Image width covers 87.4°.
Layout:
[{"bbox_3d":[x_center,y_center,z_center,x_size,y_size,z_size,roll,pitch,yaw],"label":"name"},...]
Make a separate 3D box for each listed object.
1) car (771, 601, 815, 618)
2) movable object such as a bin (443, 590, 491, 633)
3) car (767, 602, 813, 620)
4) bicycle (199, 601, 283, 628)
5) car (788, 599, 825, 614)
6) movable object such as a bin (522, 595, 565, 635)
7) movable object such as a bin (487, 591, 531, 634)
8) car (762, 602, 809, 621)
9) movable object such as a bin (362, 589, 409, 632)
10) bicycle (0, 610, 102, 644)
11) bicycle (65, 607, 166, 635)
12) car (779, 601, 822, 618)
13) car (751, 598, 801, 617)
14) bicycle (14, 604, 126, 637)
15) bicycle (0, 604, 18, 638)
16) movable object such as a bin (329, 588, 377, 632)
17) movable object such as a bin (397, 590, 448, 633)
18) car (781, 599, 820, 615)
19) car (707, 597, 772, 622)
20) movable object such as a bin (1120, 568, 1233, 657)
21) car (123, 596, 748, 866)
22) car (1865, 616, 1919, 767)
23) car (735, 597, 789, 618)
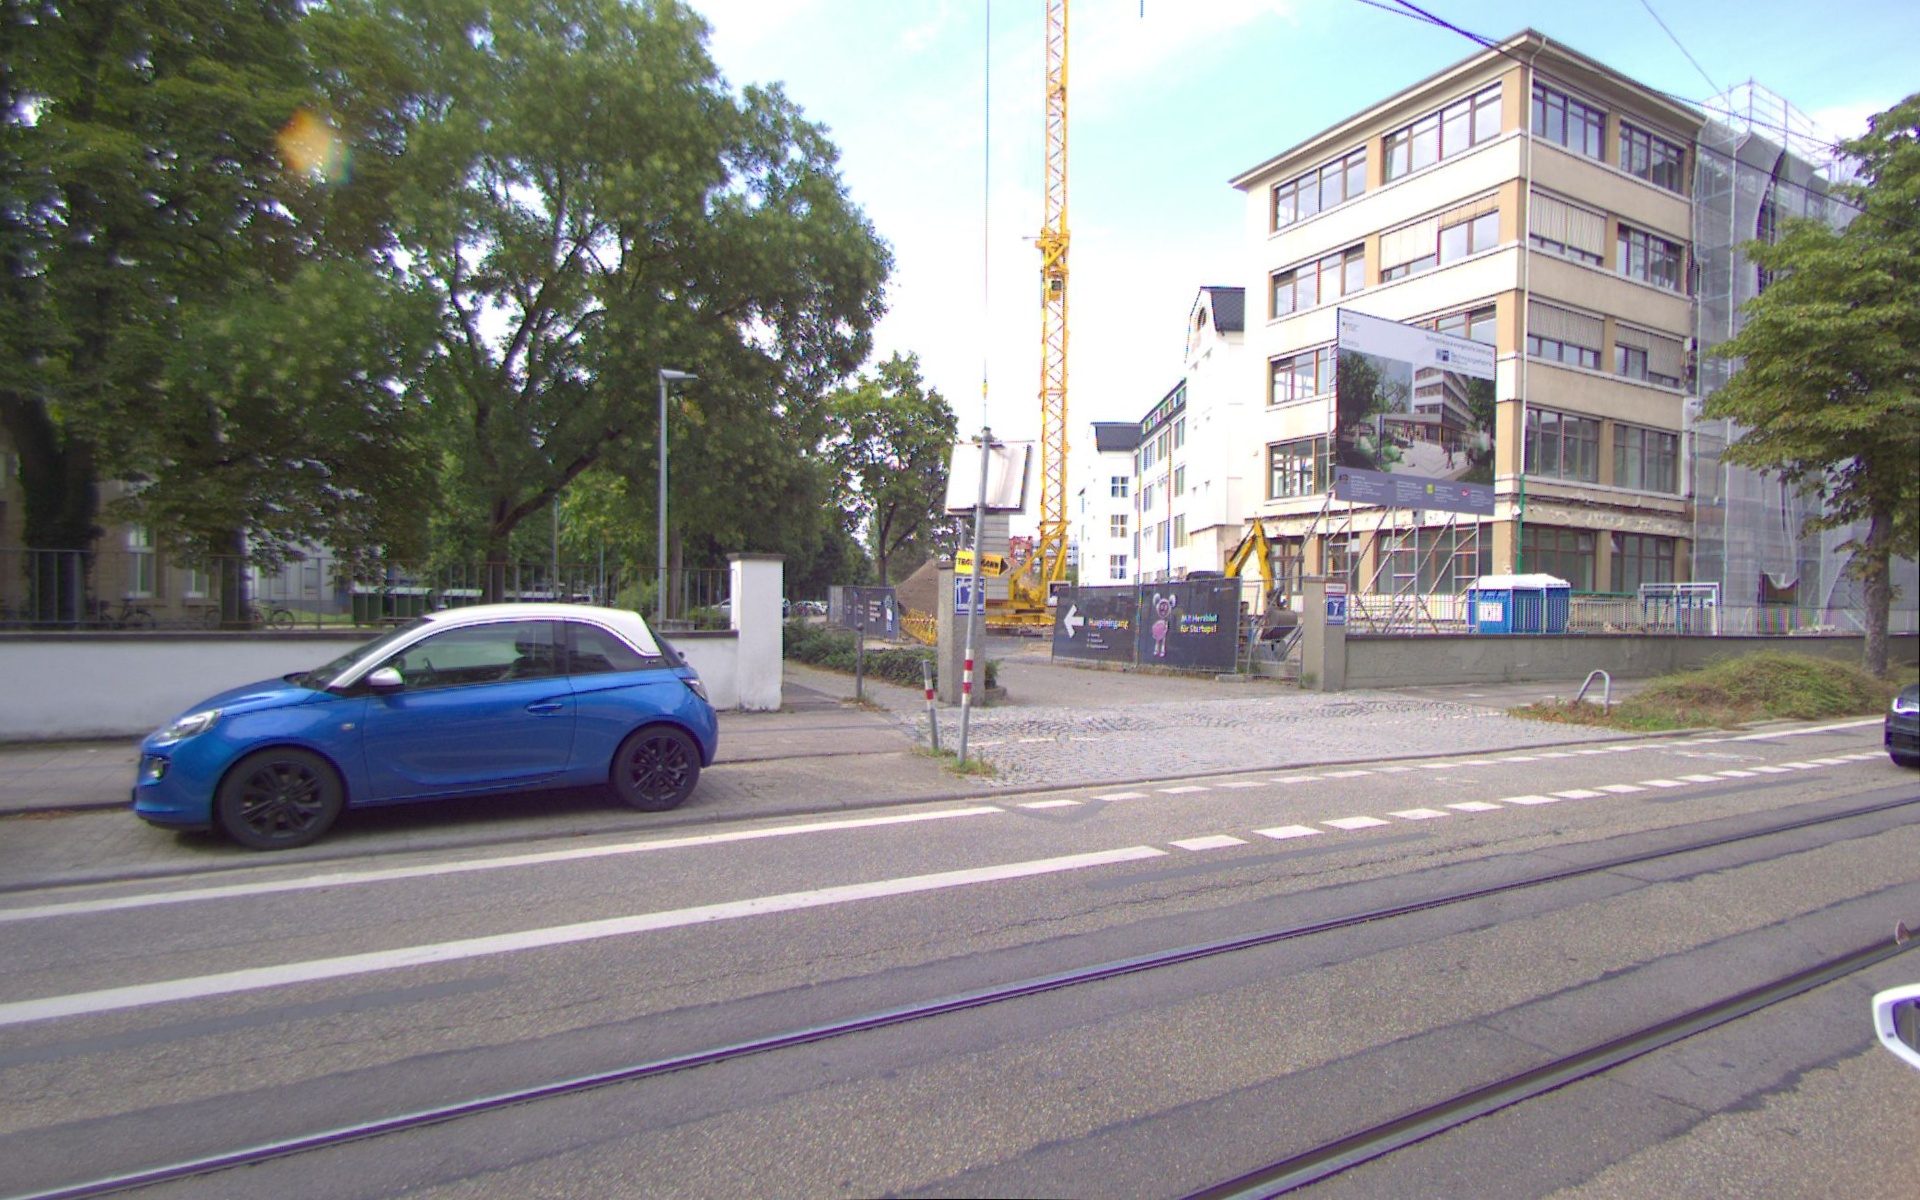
[{"bbox_3d":[-15.286,0.896,92.254,3.927,1.518,1.911,1,0,-9],"label":"car"},{"bbox_3d":[-16.444,0.388,33.516,1.180,1.393,0.861,1,1,-3],"label":"movable object such as a bin"},{"bbox_3d":[-14.987,0.948,88.549,3.927,1.518,1.911,1,0,-9],"label":"car"},{"bbox_3d":[-22.181,0.438,31.015,2.010,0.783,0.713,1,1,-10],"label":"bicycle"},{"bbox_3d":[-16.534,0.660,108.402,3.927,1.518,1.911,1,0,-9],"label":"car"},{"bbox_3d":[-13.788,0.493,33.243,1.073,1.290,0.861,1,1,-3],"label":"movable object such as a bin"},{"bbox_3d":[-15.023,0.415,33.466,1.073,1.393,0.861,1,1,-3],"label":"movable object such as a bin"},{"bbox_3d":[-14.857,0.985,85.745,3.927,1.518,1.911,1,0,-9],"label":"car"},{"bbox_3d":[-19.087,0.340,33.390,1.001,1.393,0.970,1,1,-3],"label":"movable object such as a bin"},{"bbox_3d":[-21.966,0.645,24.095,2.010,0.783,0.713,1,1,-10],"label":"bicycle"},{"bbox_3d":[-22.471,0.550,26.784,2.028,0.718,0.707,0,1,-37],"label":"bicycle"},{"bbox_3d":[-15.084,0.858,94.920,3.927,1.518,1.911,1,0,-9],"label":"car"},{"bbox_3d":[-15.064,0.631,82.309,3.927,1.518,1.911,1,0,-9],"label":"car"},{"bbox_3d":[-22.154,0.514,25.035,2.010,0.783,0.713,1,1,-10],"label":"bicycle"},{"bbox_3d":[-21.889,0.453,21.825,2.010,0.718,0.713,1,1,-10],"label":"bicycle"},{"bbox_3d":[-20.156,0.321,33.357,1.001,1.393,0.970,1,1,-3],"label":"movable object such as a bin"},{"bbox_3d":[-17.865,0.363,33.390,1.180,1.393,0.970,1,1,-3],"label":"movable object such as a bin"},{"bbox_3d":[-16.555,0.706,104.284,3.927,1.518,1.911,1,0,-9],"label":"car"},{"bbox_3d":[-14.118,0.610,64.485,3.927,1.518,1.911,1,0,-9],"label":"car"},{"bbox_3d":[5.391,0.301,25.154,1.935,2.095,1.979,1,0,-27],"label":"movable object such as a bin"},{"bbox_3d":[-3.583,0.764,7.343,3.634,1.507,1.685,1,1,-30],"label":"car"},{"bbox_3d":[11.565,0.933,10.519,4.500,1.467,1.826,1,0,-30],"label":"car"},{"bbox_3d":[-14.907,0.588,75.880,3.927,1.518,1.911,1,0,-9],"label":"car"}]
